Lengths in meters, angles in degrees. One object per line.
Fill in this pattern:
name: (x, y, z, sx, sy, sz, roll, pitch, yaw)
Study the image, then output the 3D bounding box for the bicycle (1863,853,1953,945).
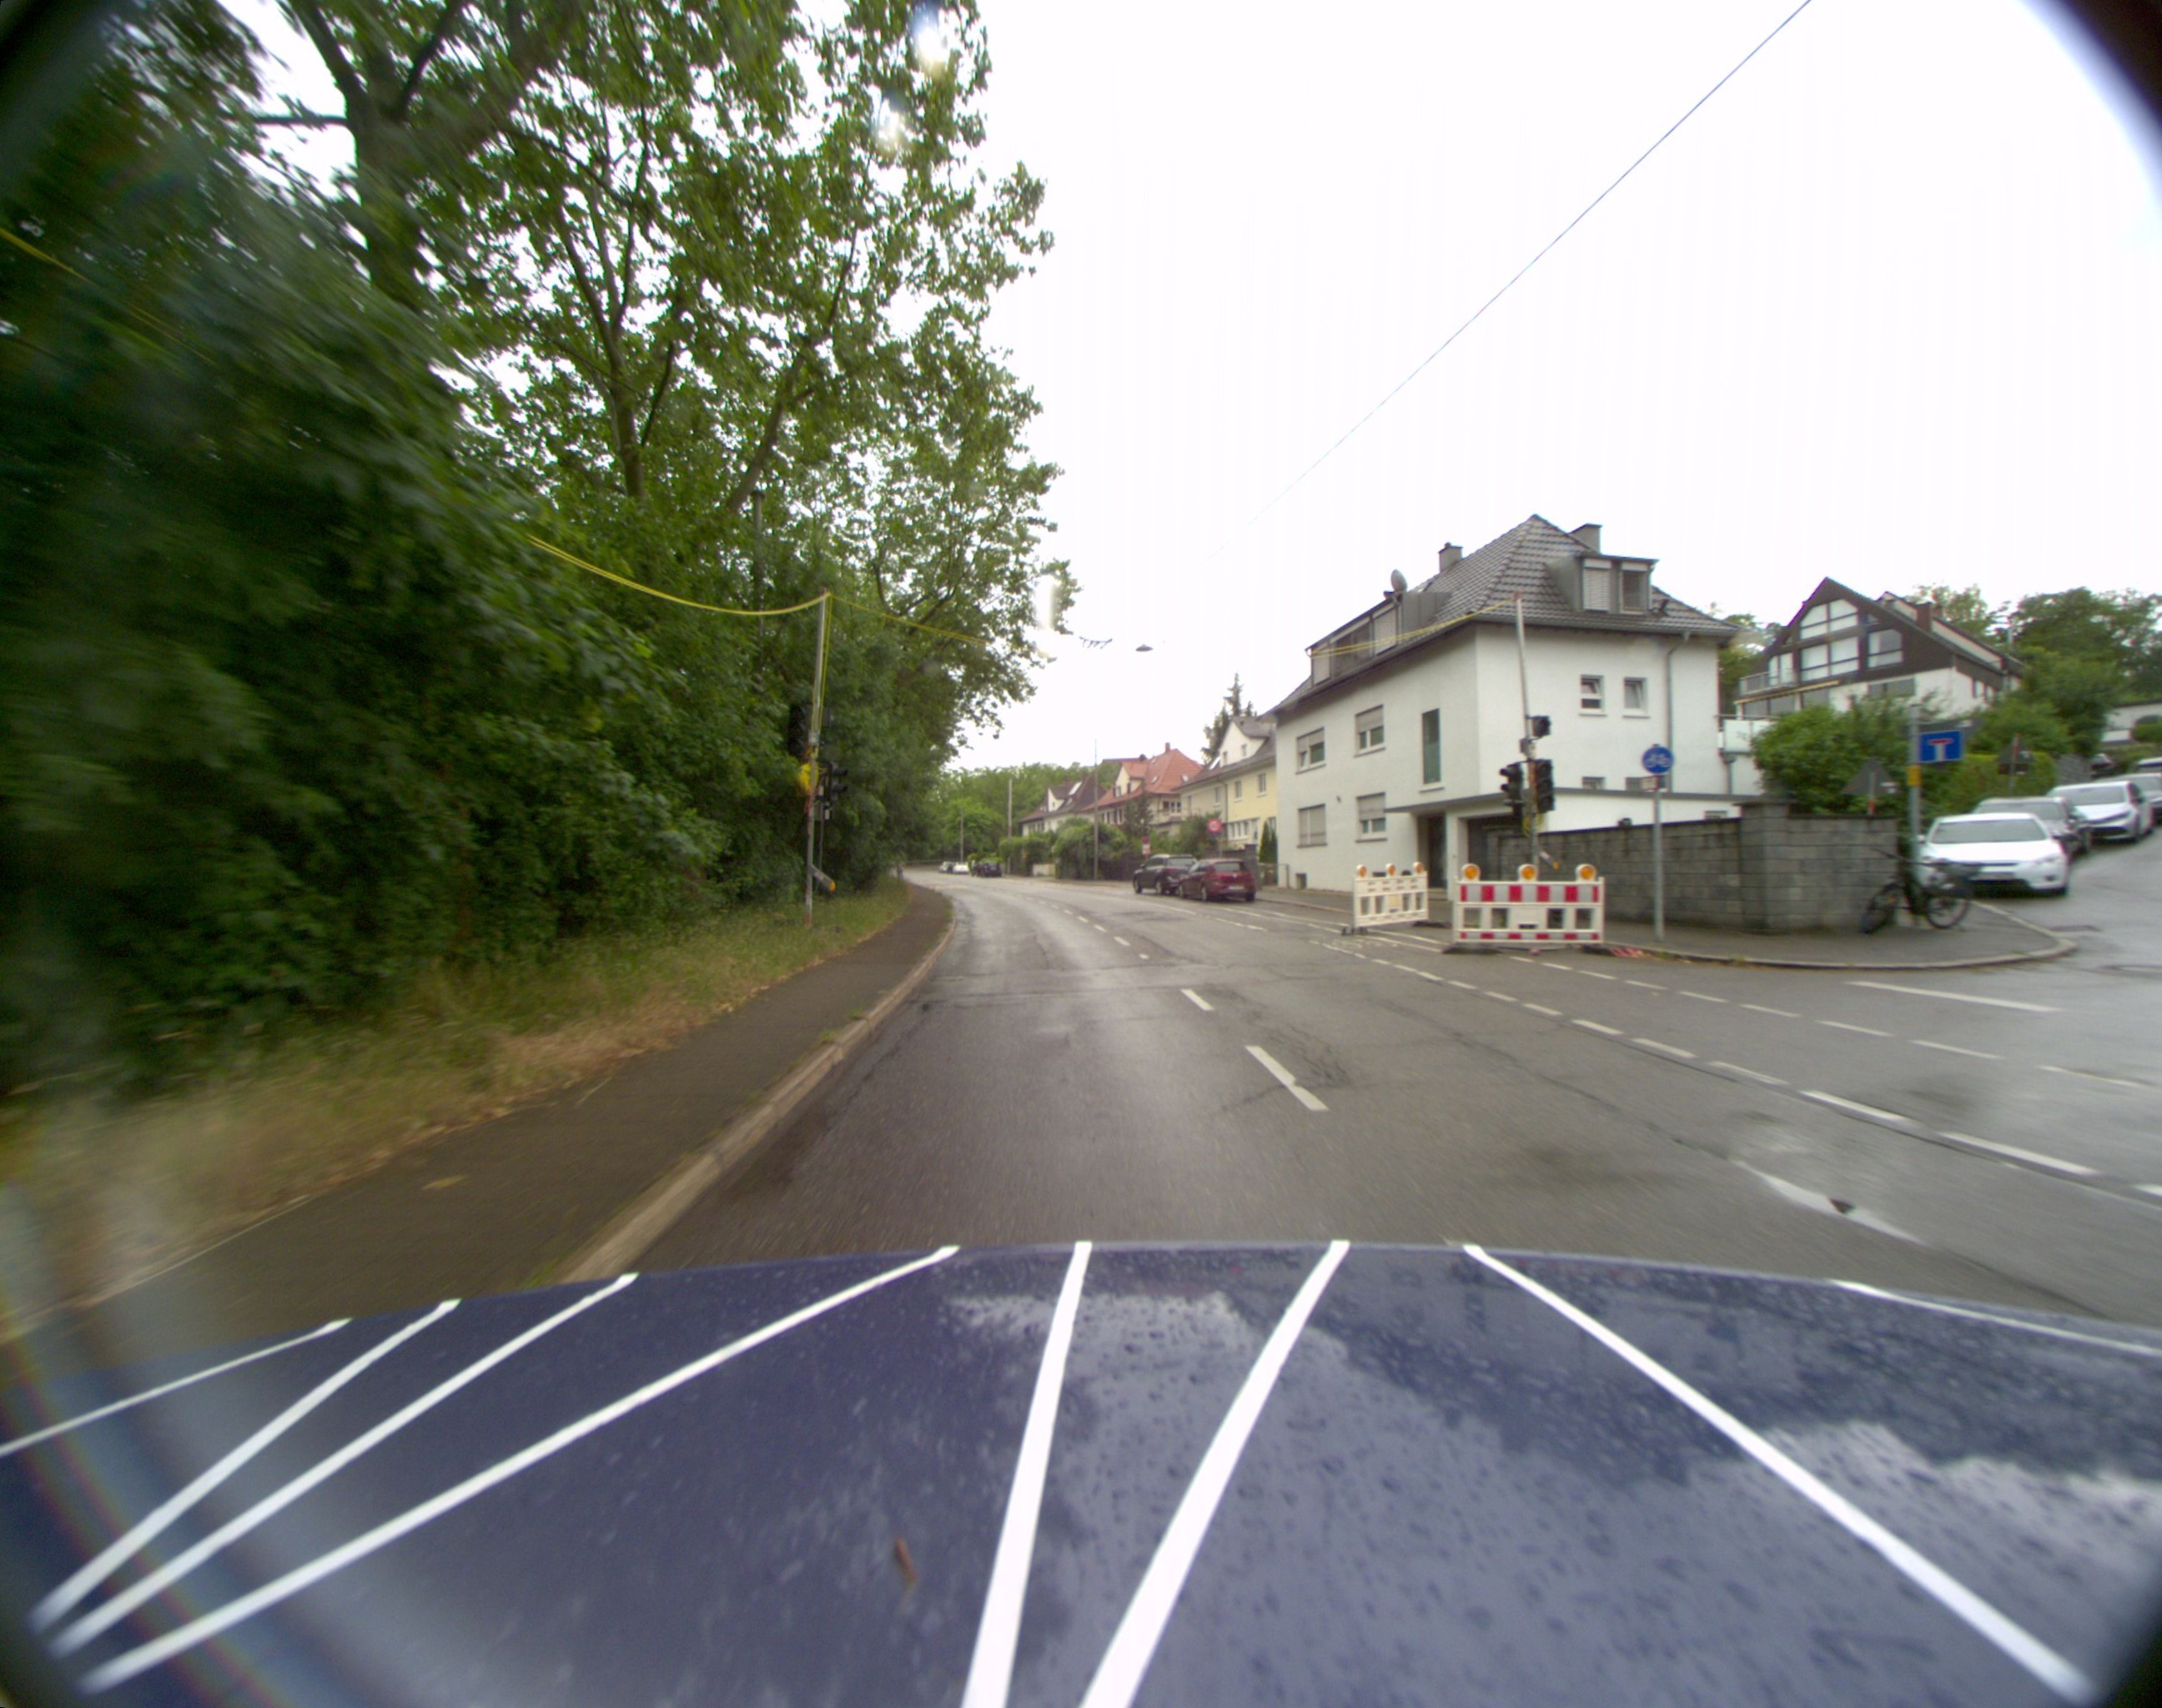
bicycle: (11.534, 0.597, 10.588, 1.520, 1.118, 0.462, -4, 3, -28)

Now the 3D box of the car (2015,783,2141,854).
car: (27.345, -0.982, 20.816, 4.006, 1.711, 1.886, -4, 2, -34)

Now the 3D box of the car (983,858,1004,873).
car: (-8.370, 1.085, 72.508, 1.525, 1.445, 3.025, 1, -1, -17)

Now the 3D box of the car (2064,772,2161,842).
car: (32.498, -1.492, 23.782, 4.006, 1.981, 1.886, -4, 3, -34)

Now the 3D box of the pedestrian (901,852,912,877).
pedestrian: (-11.755, 0.701, 51.089, 0.644, 1.602, 0.669, -1, 2, -18)

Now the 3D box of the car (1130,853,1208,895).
car: (3.605, 0.812, 31.970, 1.761, 1.648, 4.399, 1, -1, -16)

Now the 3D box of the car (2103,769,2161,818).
car: (40.501, -2.350, 28.720, 4.005, 1.711, 1.886, -4, 2, -31)

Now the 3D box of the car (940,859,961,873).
car: (-17.282, 1.568, 100.632, 1.740, 1.414, 4.274, -5, 4, -21)

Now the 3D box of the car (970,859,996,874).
car: (-9.875, 1.269, 76.558, 1.695, 1.409, 4.208, 1, -1, -20)

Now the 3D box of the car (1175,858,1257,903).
car: (4.673, 0.886, 26.930, 1.621, 1.432, 4.228, -1, -1, -7)

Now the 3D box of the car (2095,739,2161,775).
car: (58.018, -5.333, 42.089, 4.007, 1.711, 1.886, -5, 3, -42)

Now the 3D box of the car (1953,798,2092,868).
car: (22.895, -0.538, 18.448, 4.006, 1.458, 1.886, -4, 2, -36)

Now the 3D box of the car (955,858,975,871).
car: (-13.938, 1.219, 91.035, 1.705, 1.459, 3.705, -1, 0, -19)

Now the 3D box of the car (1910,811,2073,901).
car: (17.925, -0.033, 15.107, 4.007, 1.458, 1.886, -5, 3, -42)

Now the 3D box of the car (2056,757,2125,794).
car: (53.480, -4.143, 40.312, 4.007, 1.711, 1.886, -5, 3, -42)
